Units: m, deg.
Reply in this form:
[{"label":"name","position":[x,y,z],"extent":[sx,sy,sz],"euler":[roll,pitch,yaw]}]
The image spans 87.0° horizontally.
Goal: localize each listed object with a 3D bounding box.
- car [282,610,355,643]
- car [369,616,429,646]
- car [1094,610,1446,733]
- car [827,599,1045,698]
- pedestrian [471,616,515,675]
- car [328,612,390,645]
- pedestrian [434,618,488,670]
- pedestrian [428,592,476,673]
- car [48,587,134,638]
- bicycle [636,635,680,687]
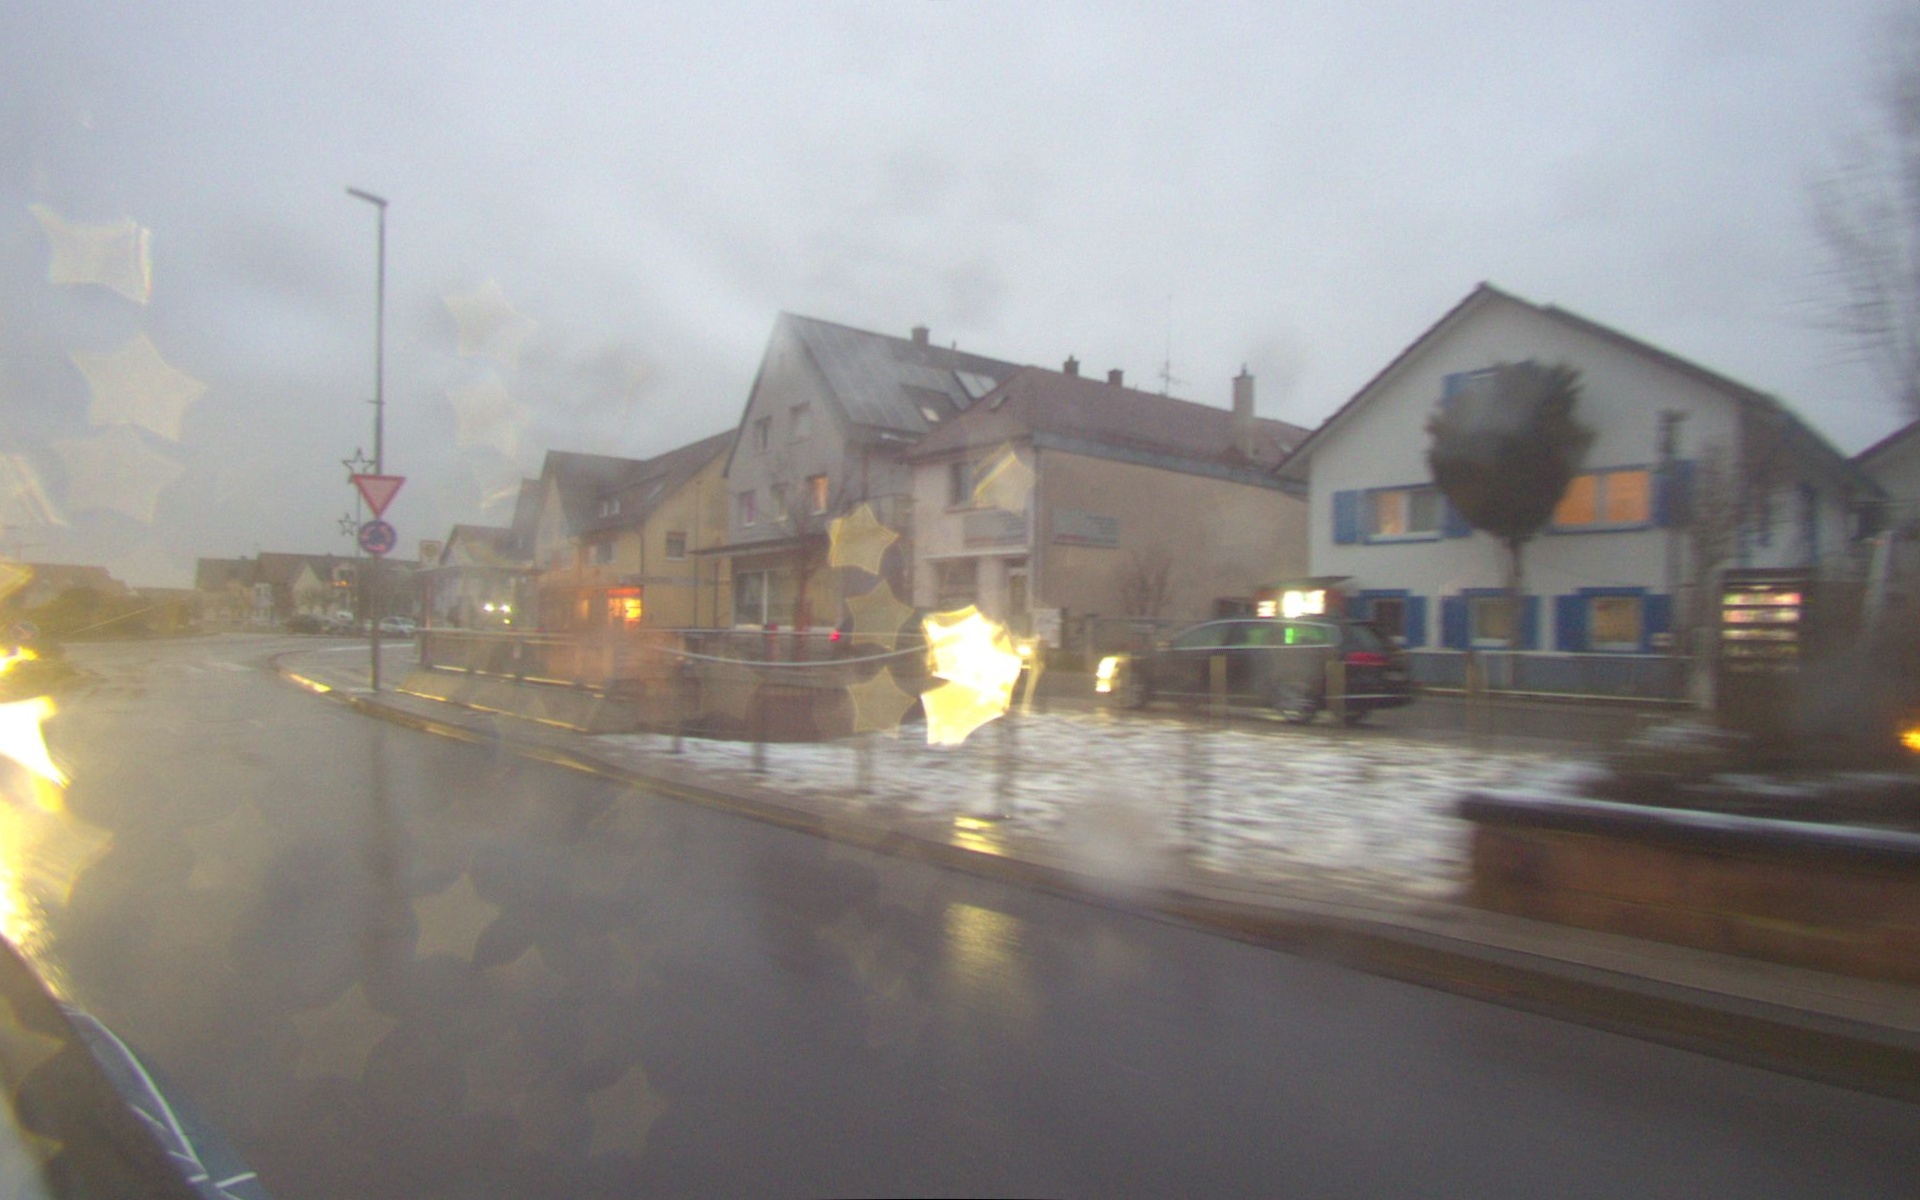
[{"label":"car","position":[-42.248,1.718,66.629],"extent":[3.965,2.010,1.961],"euler":[1,1,16]},{"label":"car","position":[-39.421,2.135,71.110],"extent":[3.856,1.895,1.917],"euler":[1,2,29]},{"label":"car","position":[4.314,0.958,14.647],"extent":[1.781,1.494,4.574],"euler":[2,-3,-45]},{"label":"car","position":[-0.589,0.944,19.944],"extent":[1.733,1.714,4.570],"euler":[4,-4,-41]},{"label":"pedestrian","position":[-10.389,0.998,22.500],"extent":[0.677,1.281,0.751],"euler":[-1,-1,-43]},{"label":"car","position":[-40.955,1.897,68.944],"extent":[3.955,2.029,1.907],"euler":[1,2,29]},{"label":"pedestrian","position":[-11.859,1.041,24.040],"extent":[0.975,1.167,0.903],"euler":[0,-2,-38]},{"label":"pedestrian","position":[-11.359,0.717,22.640],"extent":[0.687,1.755,0.740],"euler":[-2,-1,43]},{"label":"car","position":[-37.817,0.484,44.158],"extent":[2.024,2.001,4.552],"euler":[0,2,-30]},{"label":"bicycle","position":[-6.461,1.278,21.600],"extent":[0.463,1.017,1.744],"euler":[1,-1,-31]}]
